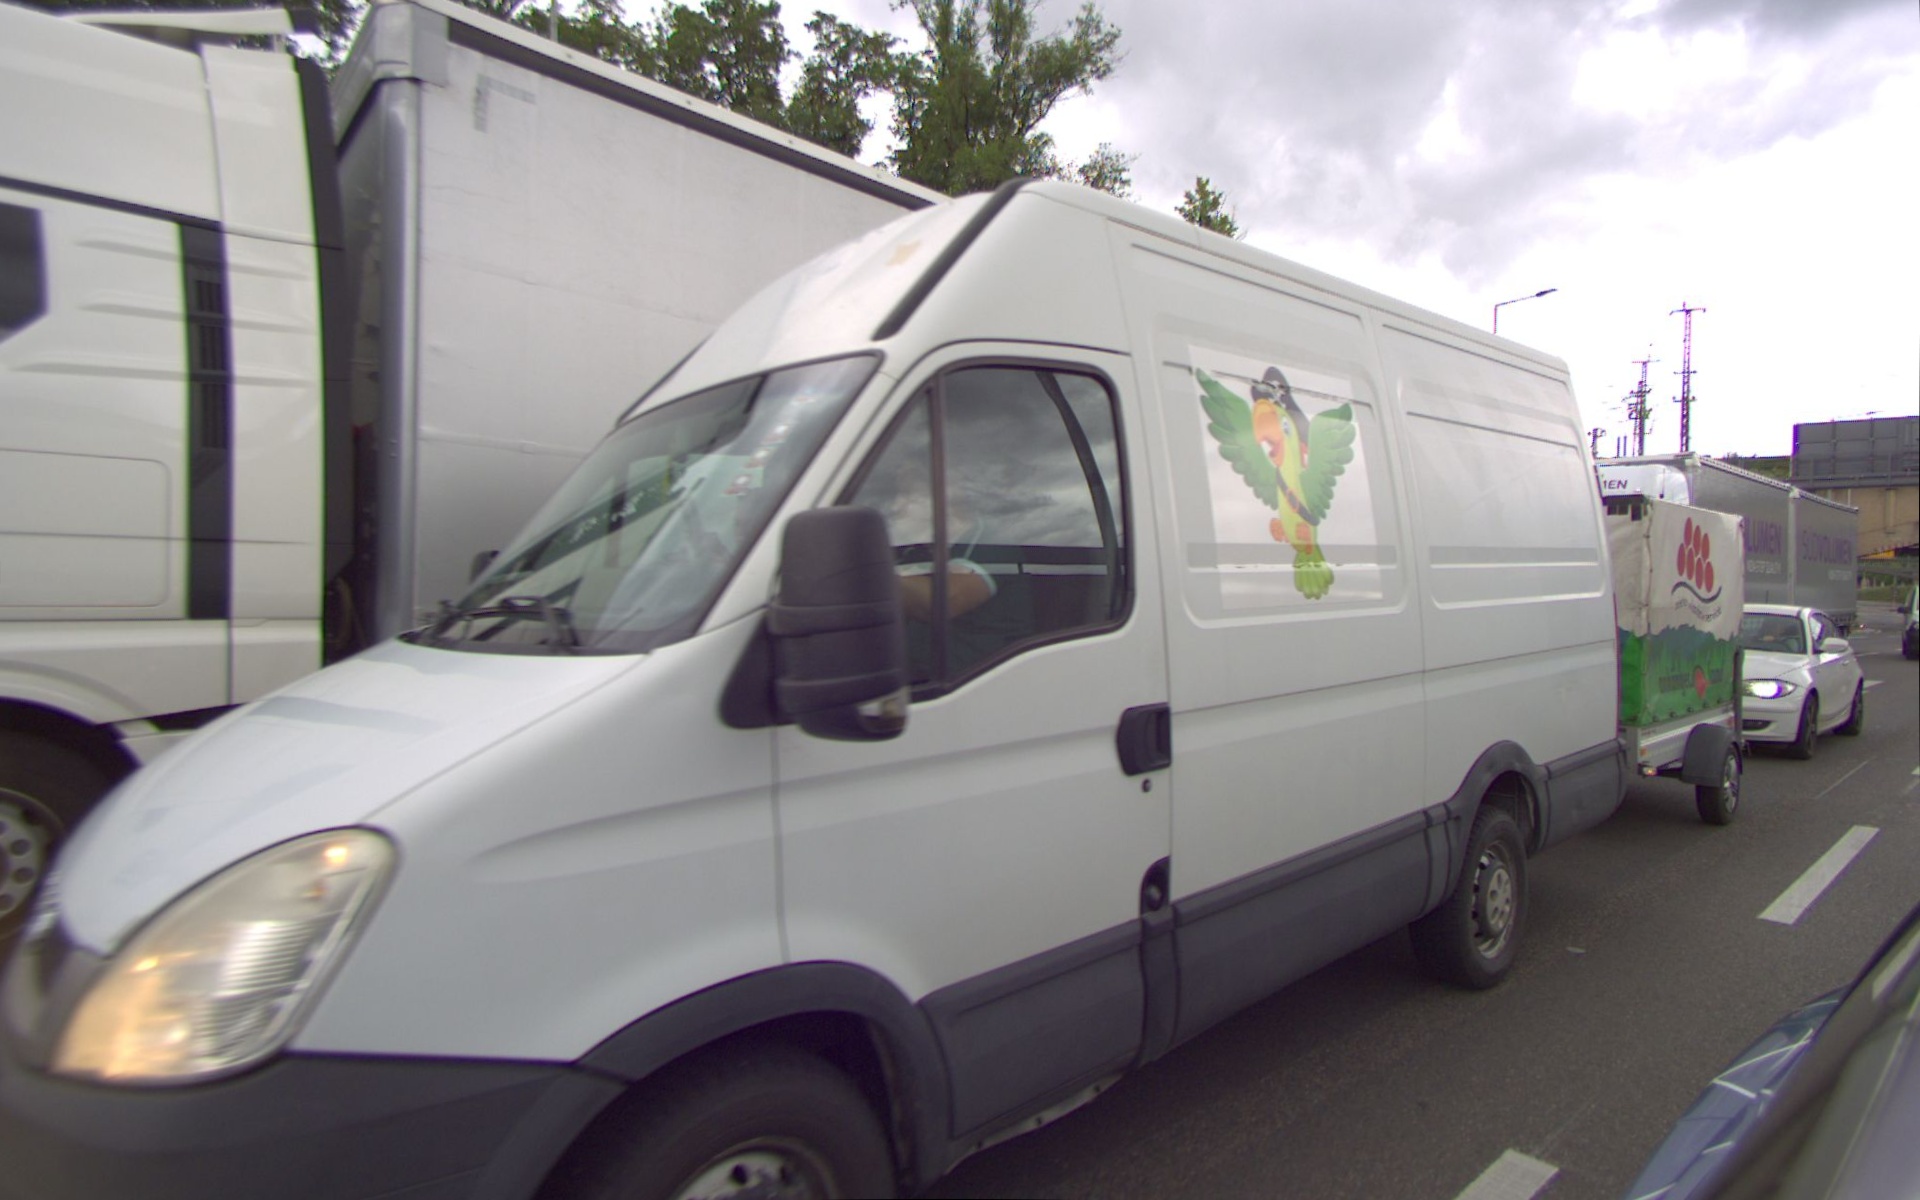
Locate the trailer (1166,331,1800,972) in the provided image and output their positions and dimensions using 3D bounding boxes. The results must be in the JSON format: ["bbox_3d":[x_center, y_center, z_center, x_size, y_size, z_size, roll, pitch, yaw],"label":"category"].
[{"bbox_3d":[3.636,0.152,6.582,4.727,2.671,2.107,-1,2,-41],"label":"trailer"}]

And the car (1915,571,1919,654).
[{"bbox_3d":[25.696,0.286,25.738,1.993,2.015,5.119,0,0,43],"label":"car"}]

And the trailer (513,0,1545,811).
[{"bbox_3d":[2.003,-1.252,10.880,11.903,4.690,3.811,-1,0,-41],"label":"trailer"}]

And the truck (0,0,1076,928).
[{"bbox_3d":[-3.156,-1.200,6.349,7.313,4.690,3.811,0,0,-41],"label":"truck"}]

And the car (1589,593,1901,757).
[{"bbox_3d":[8.557,0.643,10.897,4.269,1.415,1.720,0,1,-39],"label":"car"}]

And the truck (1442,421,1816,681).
[{"bbox_3d":[14.469,-0.846,21.311,10.790,4.194,3.731,-1,0,-40],"label":"truck"}]

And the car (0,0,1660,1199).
[{"bbox_3d":[0.443,0.090,3.773,5.837,2.662,2.061,1,-3,-41],"label":"car"}]

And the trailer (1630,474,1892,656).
[{"bbox_3d":[22.663,-0.864,28.295,10.790,4.194,3.731,-1,0,-40],"label":"trailer"}]
